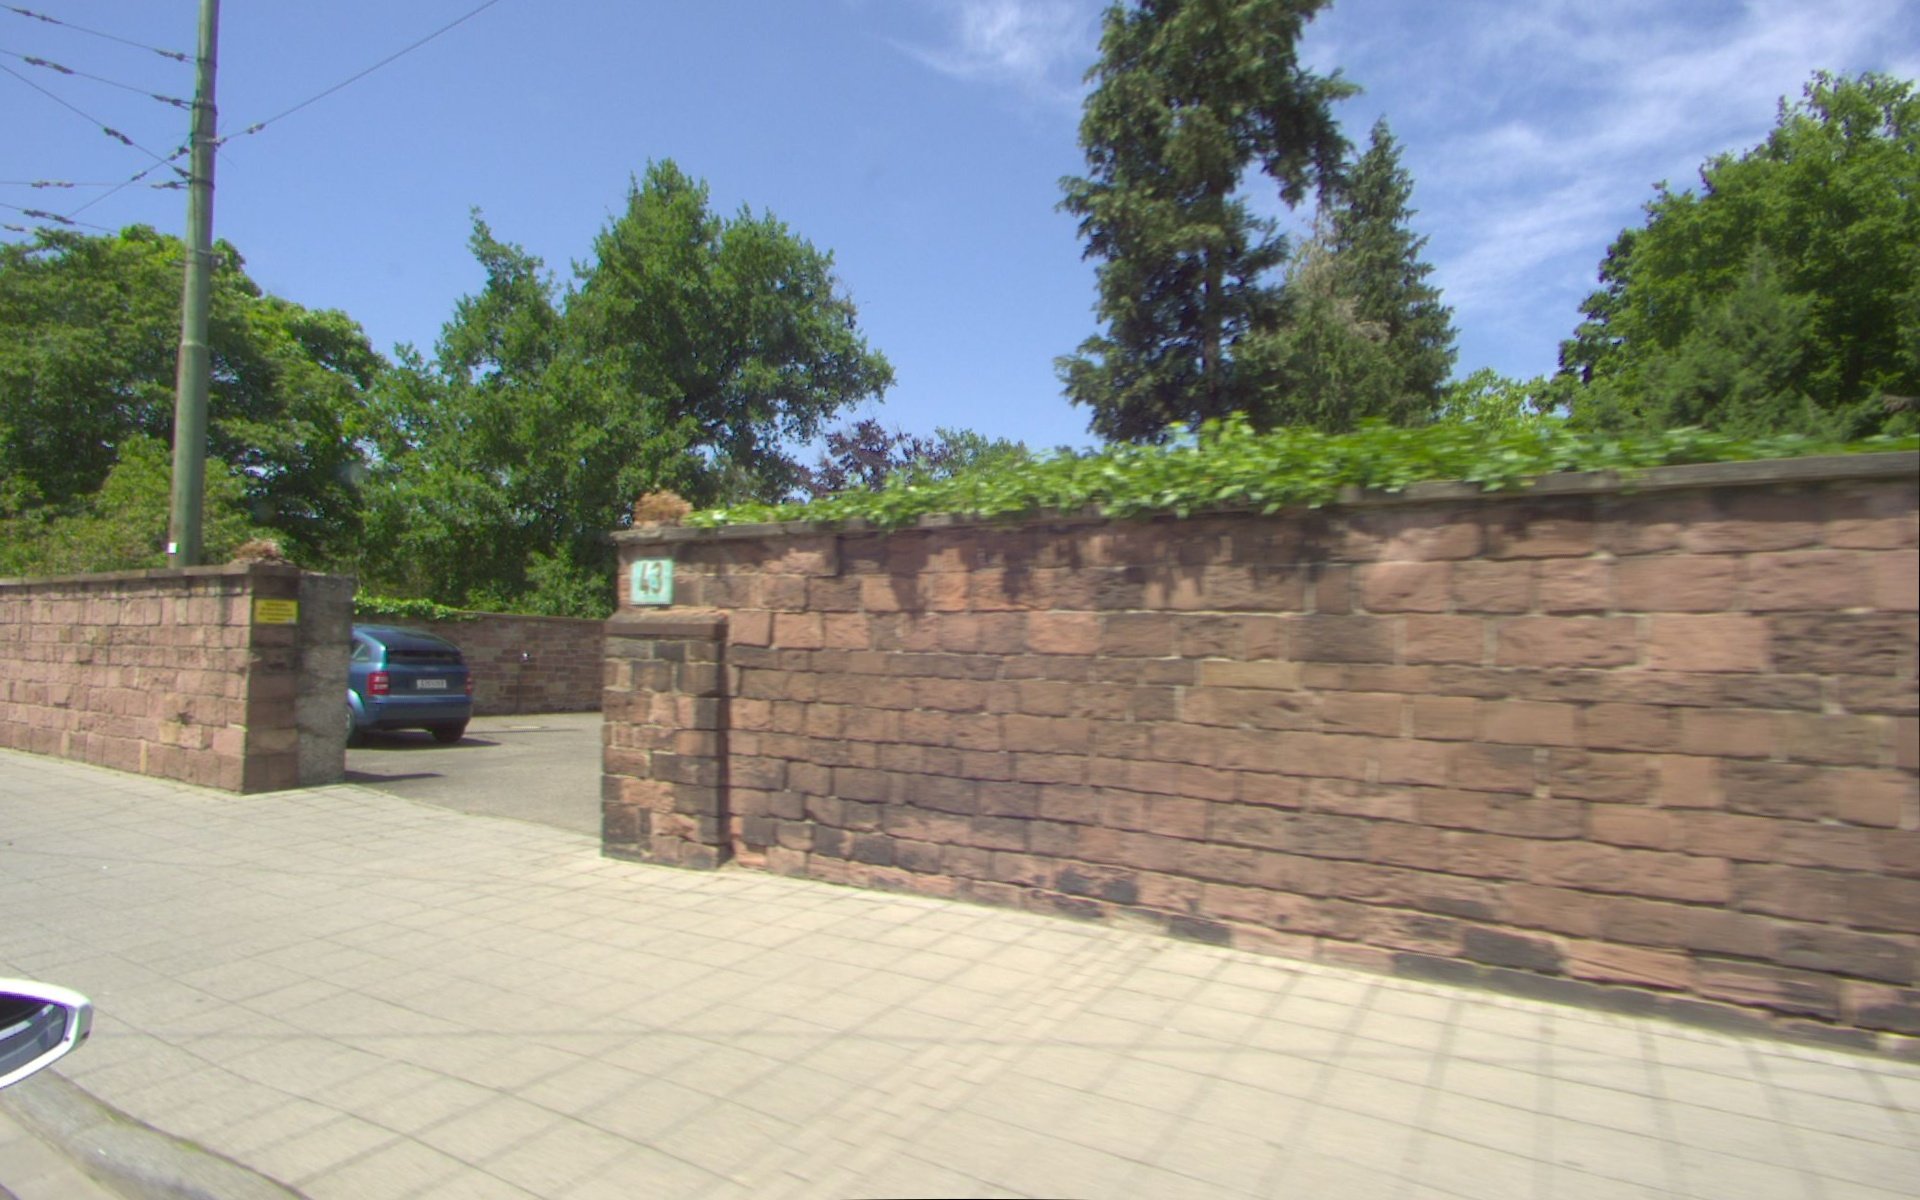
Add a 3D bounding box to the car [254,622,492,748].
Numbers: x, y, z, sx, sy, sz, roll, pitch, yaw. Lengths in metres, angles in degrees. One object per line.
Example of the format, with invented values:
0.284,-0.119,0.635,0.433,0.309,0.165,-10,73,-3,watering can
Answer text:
-7.940,1.098,13.539,2.900,1.500,1.480,0,-4,30,car
